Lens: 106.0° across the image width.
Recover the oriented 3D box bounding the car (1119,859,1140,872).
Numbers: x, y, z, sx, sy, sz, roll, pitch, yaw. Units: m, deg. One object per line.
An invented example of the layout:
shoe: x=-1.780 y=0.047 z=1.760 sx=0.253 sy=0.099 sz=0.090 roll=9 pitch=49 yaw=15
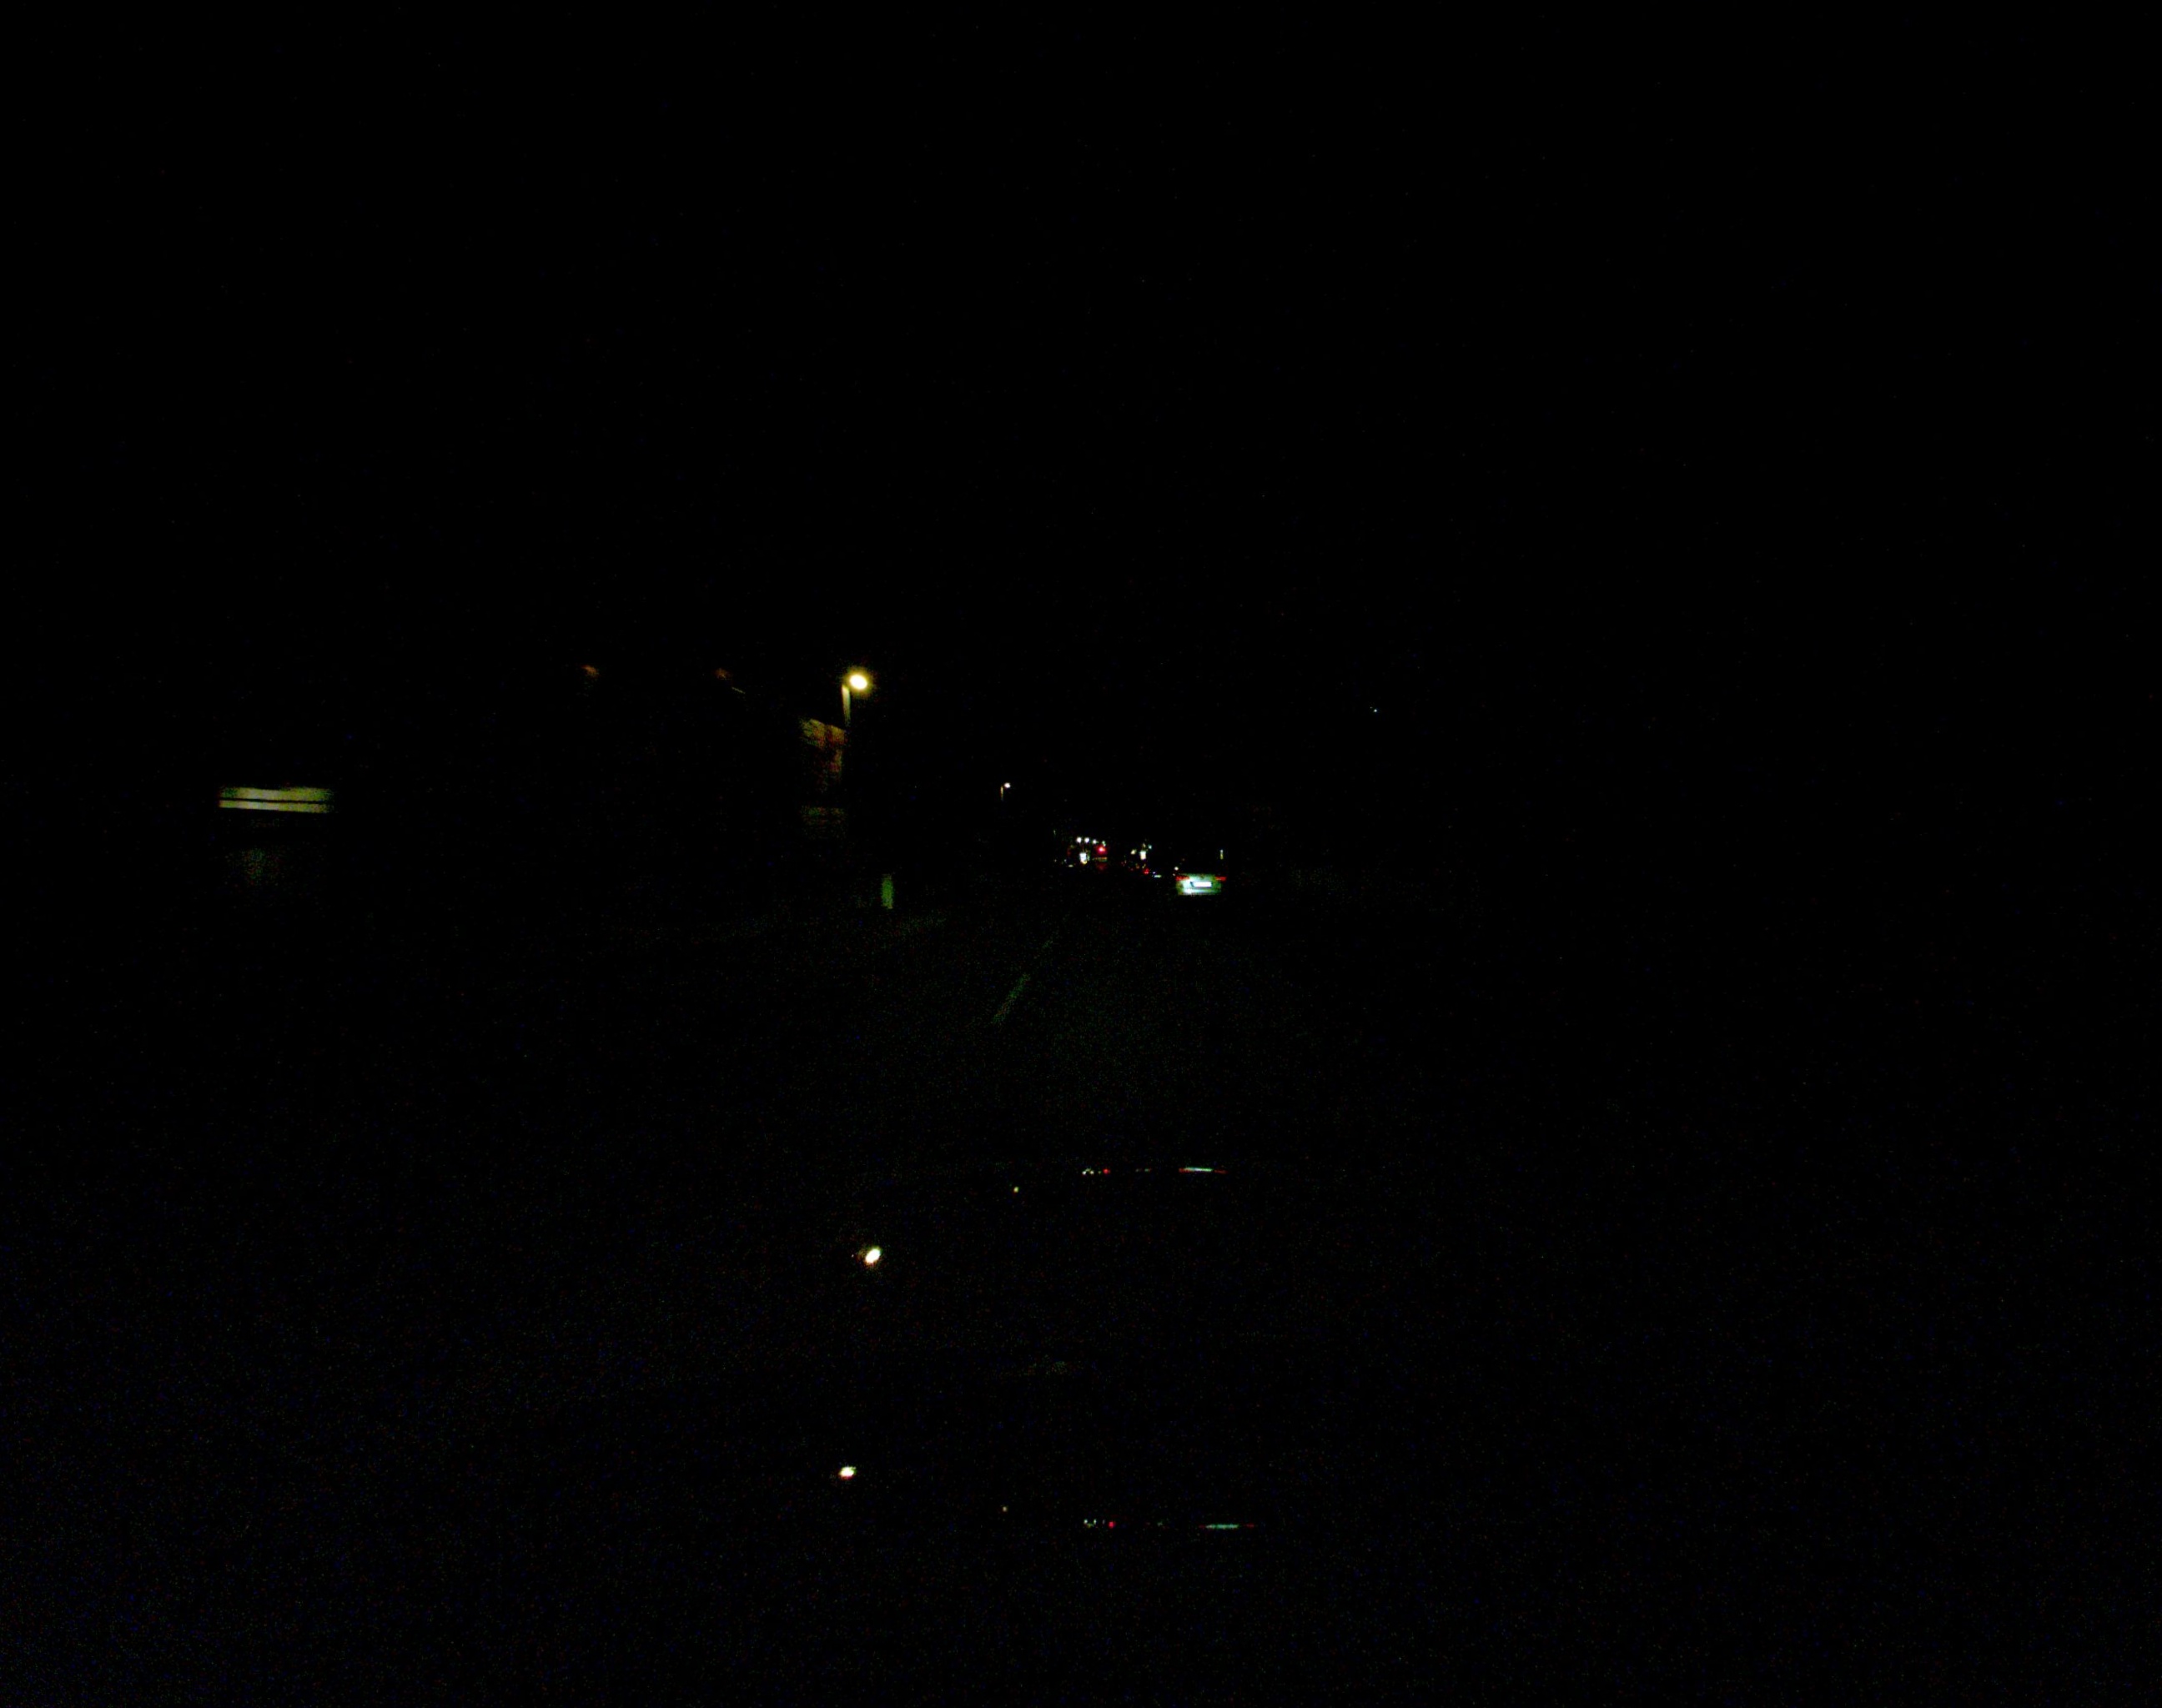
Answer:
car: x=5.298 y=1.226 z=89.183 sx=1.679 sy=1.448 sz=3.993 roll=0 pitch=0 yaw=-5

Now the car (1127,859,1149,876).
car: x=5.146 y=1.210 z=73.927 sx=1.677 sy=1.448 sz=3.999 roll=0 pitch=0 yaw=0

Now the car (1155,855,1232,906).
car: x=3.513 y=0.799 z=26.171 sx=1.758 sy=1.475 sz=4.272 roll=1 pitch=0 yaw=-2

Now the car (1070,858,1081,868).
car: x=-0.862 y=1.459 z=133.231 sx=1.747 sy=1.539 sz=3.731 roll=-1 pitch=0 yaw=0

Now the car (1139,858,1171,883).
car: x=4.459 y=0.994 z=49.472 sx=1.624 sy=1.439 sz=3.864 roll=-1 pitch=0 yaw=0

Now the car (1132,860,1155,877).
car: x=5.316 y=1.182 z=69.074 sx=1.859 sy=1.403 sz=4.006 roll=0 pitch=0 yaw=6

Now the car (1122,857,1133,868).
car: x=6.885 y=1.302 z=120.755 sx=1.675 sy=1.539 sz=4.002 roll=-1 pitch=0 yaw=2

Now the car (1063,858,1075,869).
car: x=-1.720 y=1.344 z=116.116 sx=1.748 sy=1.539 sz=3.728 roll=-1 pitch=0 yaw=-2

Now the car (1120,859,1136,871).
car: x=5.744 y=1.320 z=100.357 sx=1.677 sy=1.448 sz=3.999 roll=0 pitch=0 yaw=0

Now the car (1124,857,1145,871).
car: x=5.515 y=1.008 z=84.535 sx=1.679 sy=1.448 sz=3.995 roll=0 pitch=0 yaw=-3
